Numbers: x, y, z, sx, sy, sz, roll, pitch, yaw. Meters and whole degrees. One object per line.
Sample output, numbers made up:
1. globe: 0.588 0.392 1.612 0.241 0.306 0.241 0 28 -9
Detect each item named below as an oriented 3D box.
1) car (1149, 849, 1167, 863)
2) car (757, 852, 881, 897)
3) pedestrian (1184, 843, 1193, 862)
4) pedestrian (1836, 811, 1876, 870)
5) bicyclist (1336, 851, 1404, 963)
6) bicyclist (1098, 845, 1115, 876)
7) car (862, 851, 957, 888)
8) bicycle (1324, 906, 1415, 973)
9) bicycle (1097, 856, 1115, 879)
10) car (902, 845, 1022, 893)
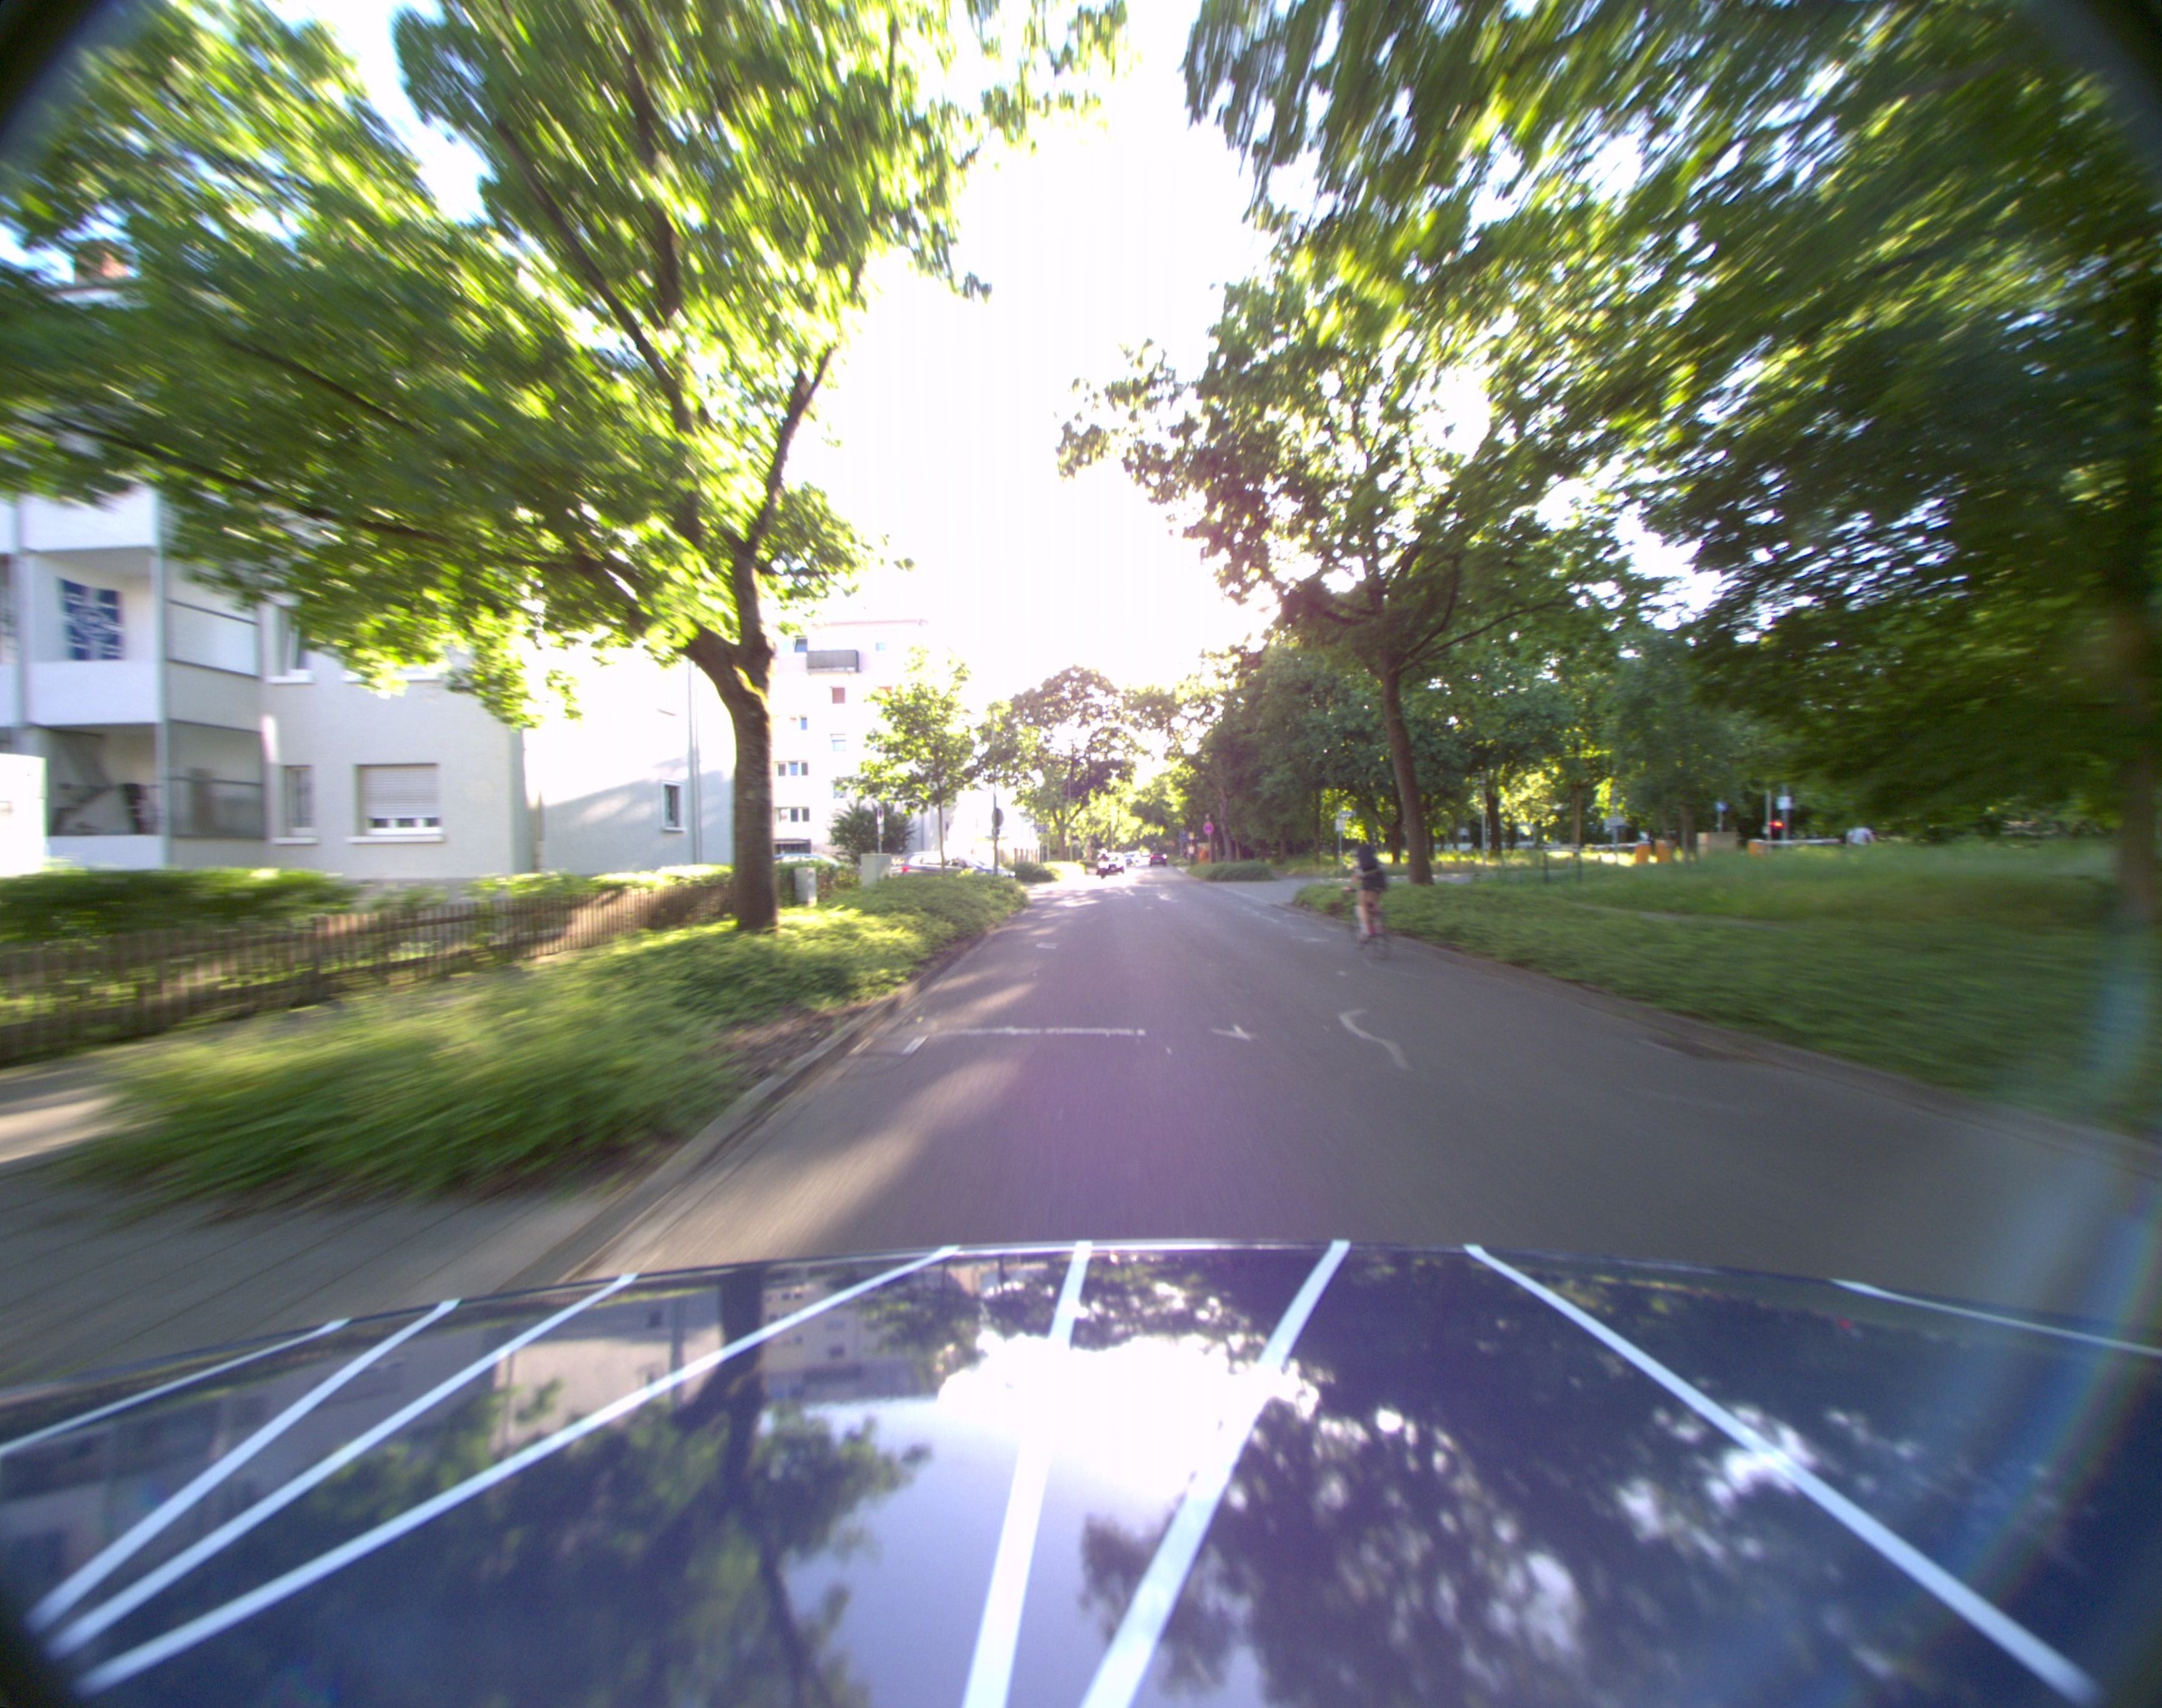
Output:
1. car: 8.503 0.197 83.408 1.848 1.569 4.338 0 0 7
2. car: -9.810 0.746 28.650 3.997 1.572 1.810 -1 0 1
3. pedestrian: 10.643 -0.125 75.229 0.905 1.810 0.721 -2 1 7
4. pedestrian: 27.167 -0.478 26.654 0.758 2.002 0.590 -2 1 2
5. bicyclist: 4.175 0.737 11.031 0.634 1.546 1.002 0 1 3
6. bicyclist: 1.384 0.334 41.824 0.819 1.635 0.745 -3 1 4
7. car: -8.091 0.721 36.115 4.050 1.506 1.726 -2 2 2
8. bicycle: 4.181 1.212 11.189 0.640 0.737 2.126 0 1 4
9. bicycle: 1.409 0.710 41.950 0.829 1.182 2.302 -2 1 5
10. car: -4.655 0.576 29.990 4.272 1.664 1.770 -3 1 11
